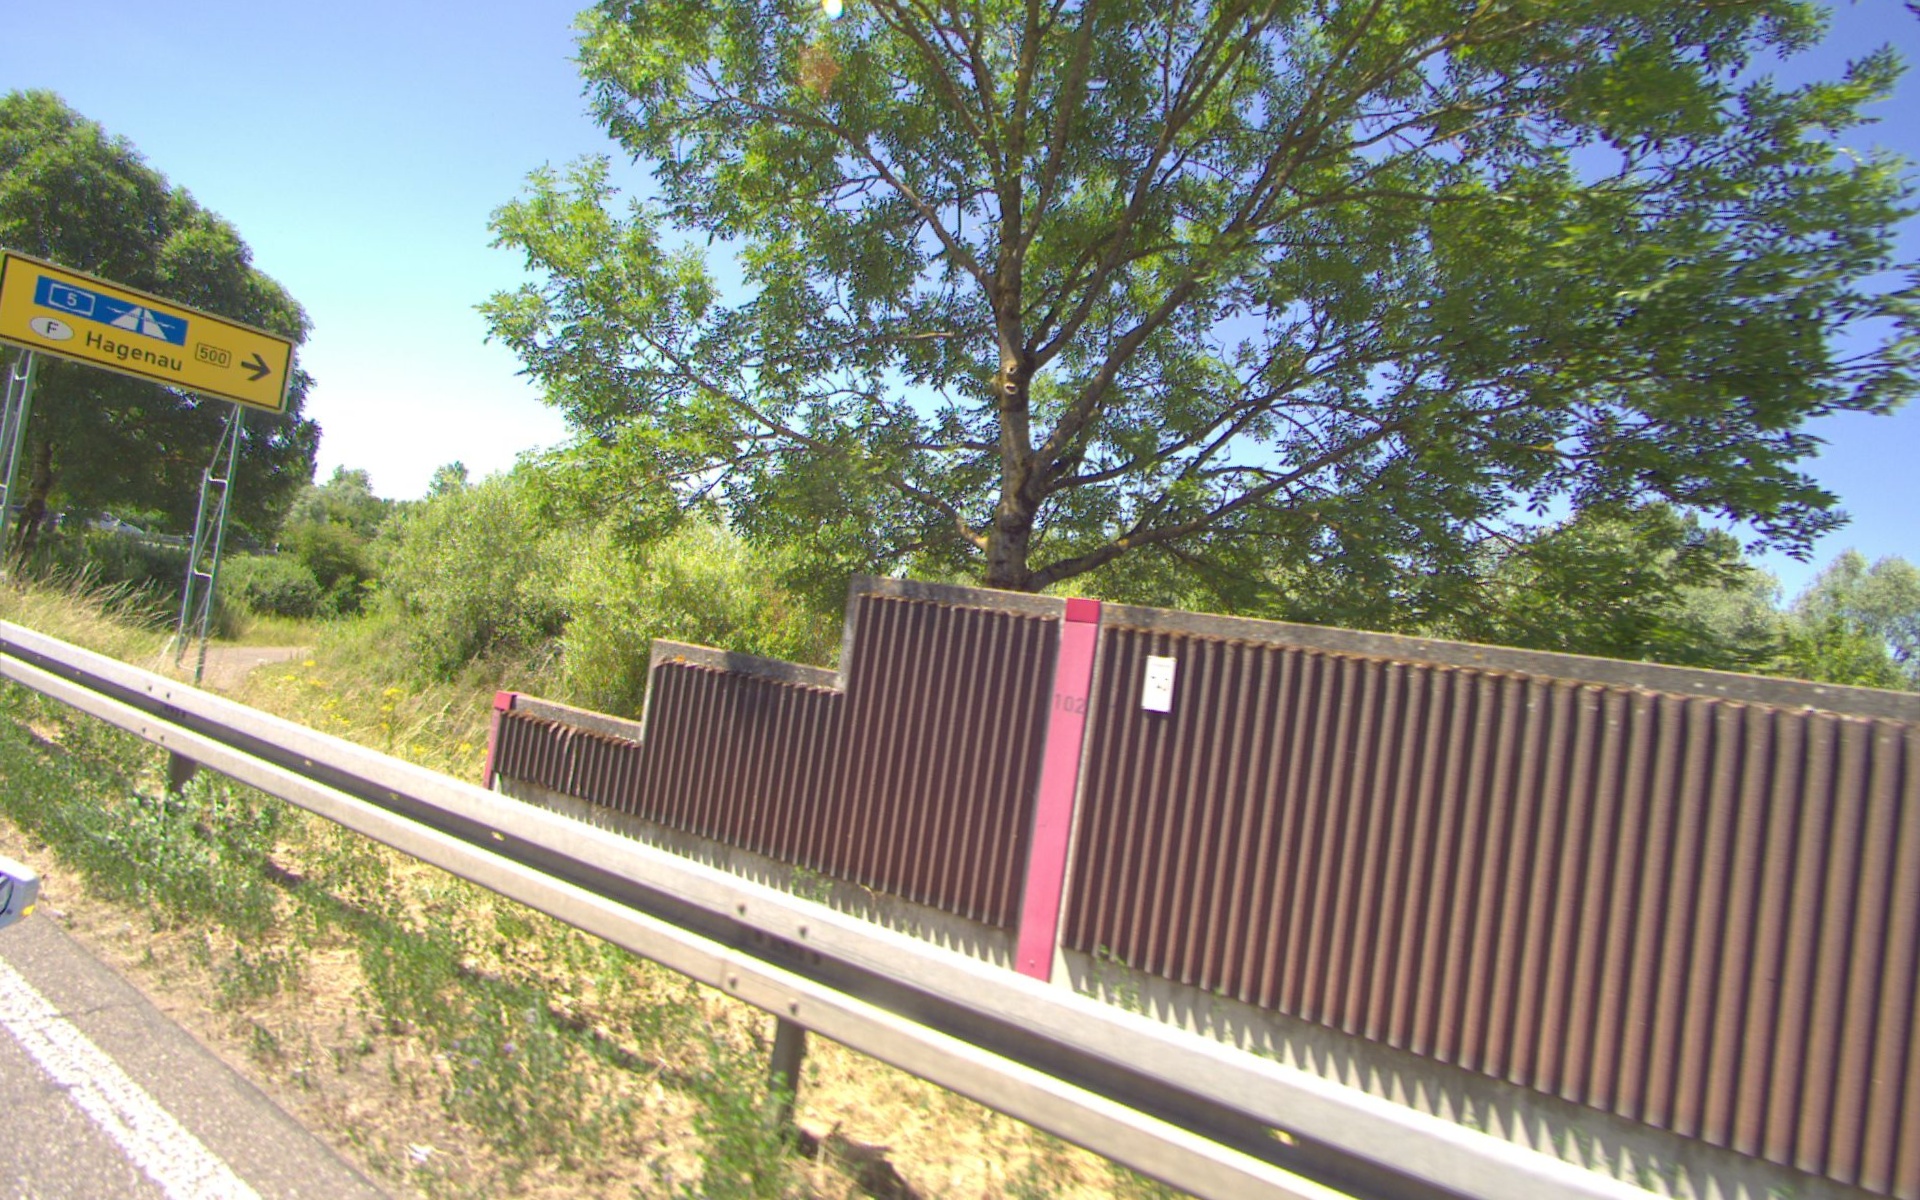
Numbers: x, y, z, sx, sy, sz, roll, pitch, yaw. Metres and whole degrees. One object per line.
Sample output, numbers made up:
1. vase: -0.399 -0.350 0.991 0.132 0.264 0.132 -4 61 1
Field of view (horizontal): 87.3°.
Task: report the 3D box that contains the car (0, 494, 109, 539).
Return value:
1. car: -51.361 -4.718 56.535 1.901 1.650 4.936 7 -2 31
